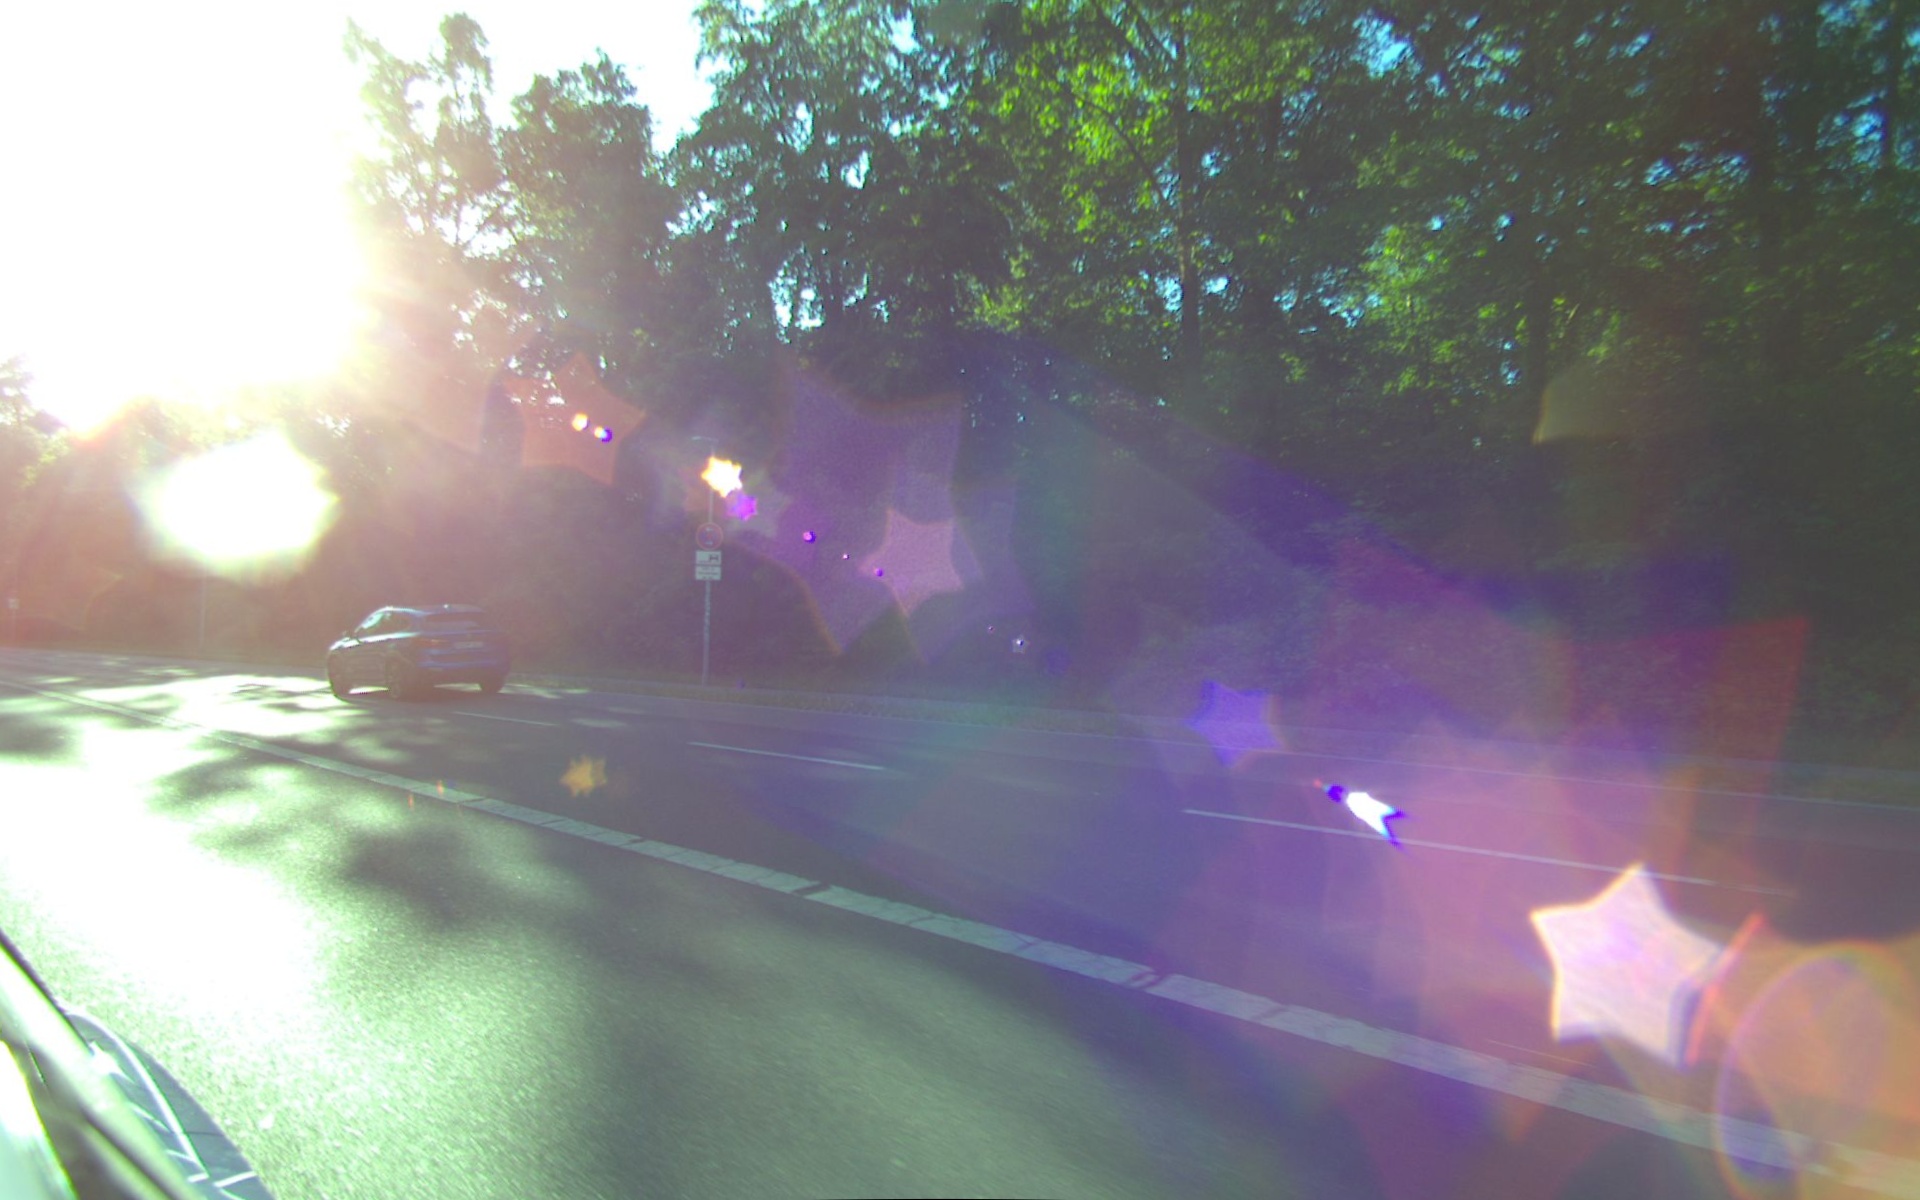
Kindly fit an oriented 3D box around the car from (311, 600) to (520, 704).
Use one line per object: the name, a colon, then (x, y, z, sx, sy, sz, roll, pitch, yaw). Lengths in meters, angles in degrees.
car: (-10.043, 0.887, 18.527, 4.517, 1.676, 1.790, -1, -1, 39)
